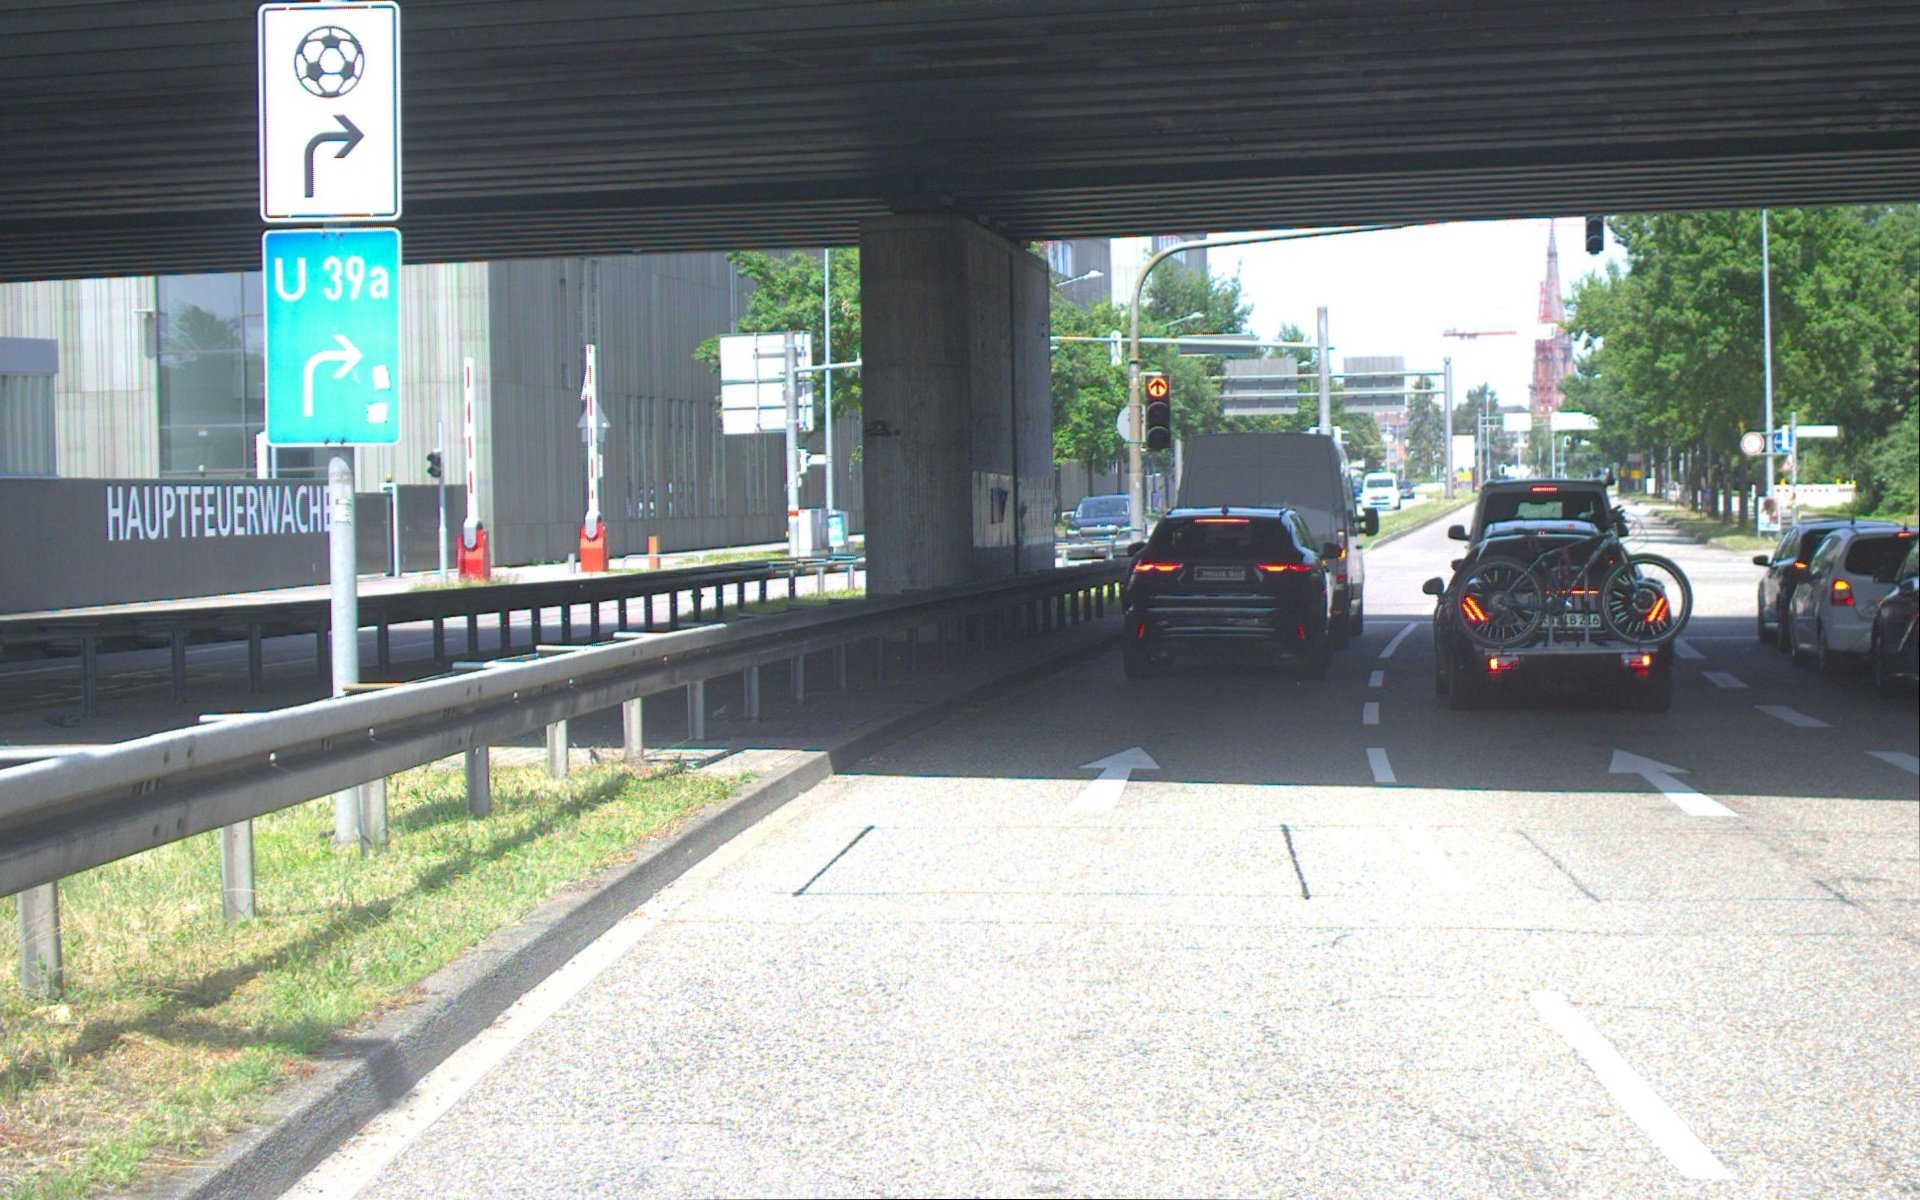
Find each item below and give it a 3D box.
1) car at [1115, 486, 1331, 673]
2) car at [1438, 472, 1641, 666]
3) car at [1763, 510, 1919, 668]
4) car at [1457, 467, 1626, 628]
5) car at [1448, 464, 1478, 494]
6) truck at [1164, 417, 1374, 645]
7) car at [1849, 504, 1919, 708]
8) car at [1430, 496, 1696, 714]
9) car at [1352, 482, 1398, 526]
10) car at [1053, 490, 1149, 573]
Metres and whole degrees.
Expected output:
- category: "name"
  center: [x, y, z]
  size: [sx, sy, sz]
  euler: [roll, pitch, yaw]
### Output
- category: "car"
  center: [2.646, -0.219, 33.781]
  size: [1.941, 1.715, 3.999]
  euler: [0, 1, 7]
- category: "car"
  center: [5.920, -0.329, 35.493]
  size: [1.840, 1.883, 3.999]
  euler: [0, 1, 6]
- category: "car"
  center: [9.200, -0.136, 34.170]
  size: [1.905, 1.483, 3.999]
  euler: [0, 1, 6]
- category: "car"
  center: [7.165, -0.649, 42.656]
  size: [1.840, 1.883, 3.999]
  euler: [0, 1, 6]
- category: "car"
  center: [35.583, -8.559, 243.344]
  size: [1.994, 2.007, 3.999]
  euler: [0, 1, 7]
- category: "truck"
  center: [3.750, -0.827, 41.140]
  size: [2.068, 2.529, 3.998]
  euler: [-2, 1, 10]
- category: "car"
  center: [8.442, 0.013, 27.879]
  size: [1.840, 1.563, 3.999]
  euler: [0, 1, 6]
- category: "car"
  center: [4.815, -0.011, 27.941]
  size: [1.957, 1.628, 4.279]
  euler: [0, 1, 8]
- category: "car"
  center: [20.528, -4.734, 169.850]
  size: [1.994, 2.007, 3.999]
  euler: [-3, 1, 9]
- category: "car"
  center: [3.689, -1.774, 89.374]
  size: [1.994, 2.007, 3.999]
  euler: [-3, 1, 8]
